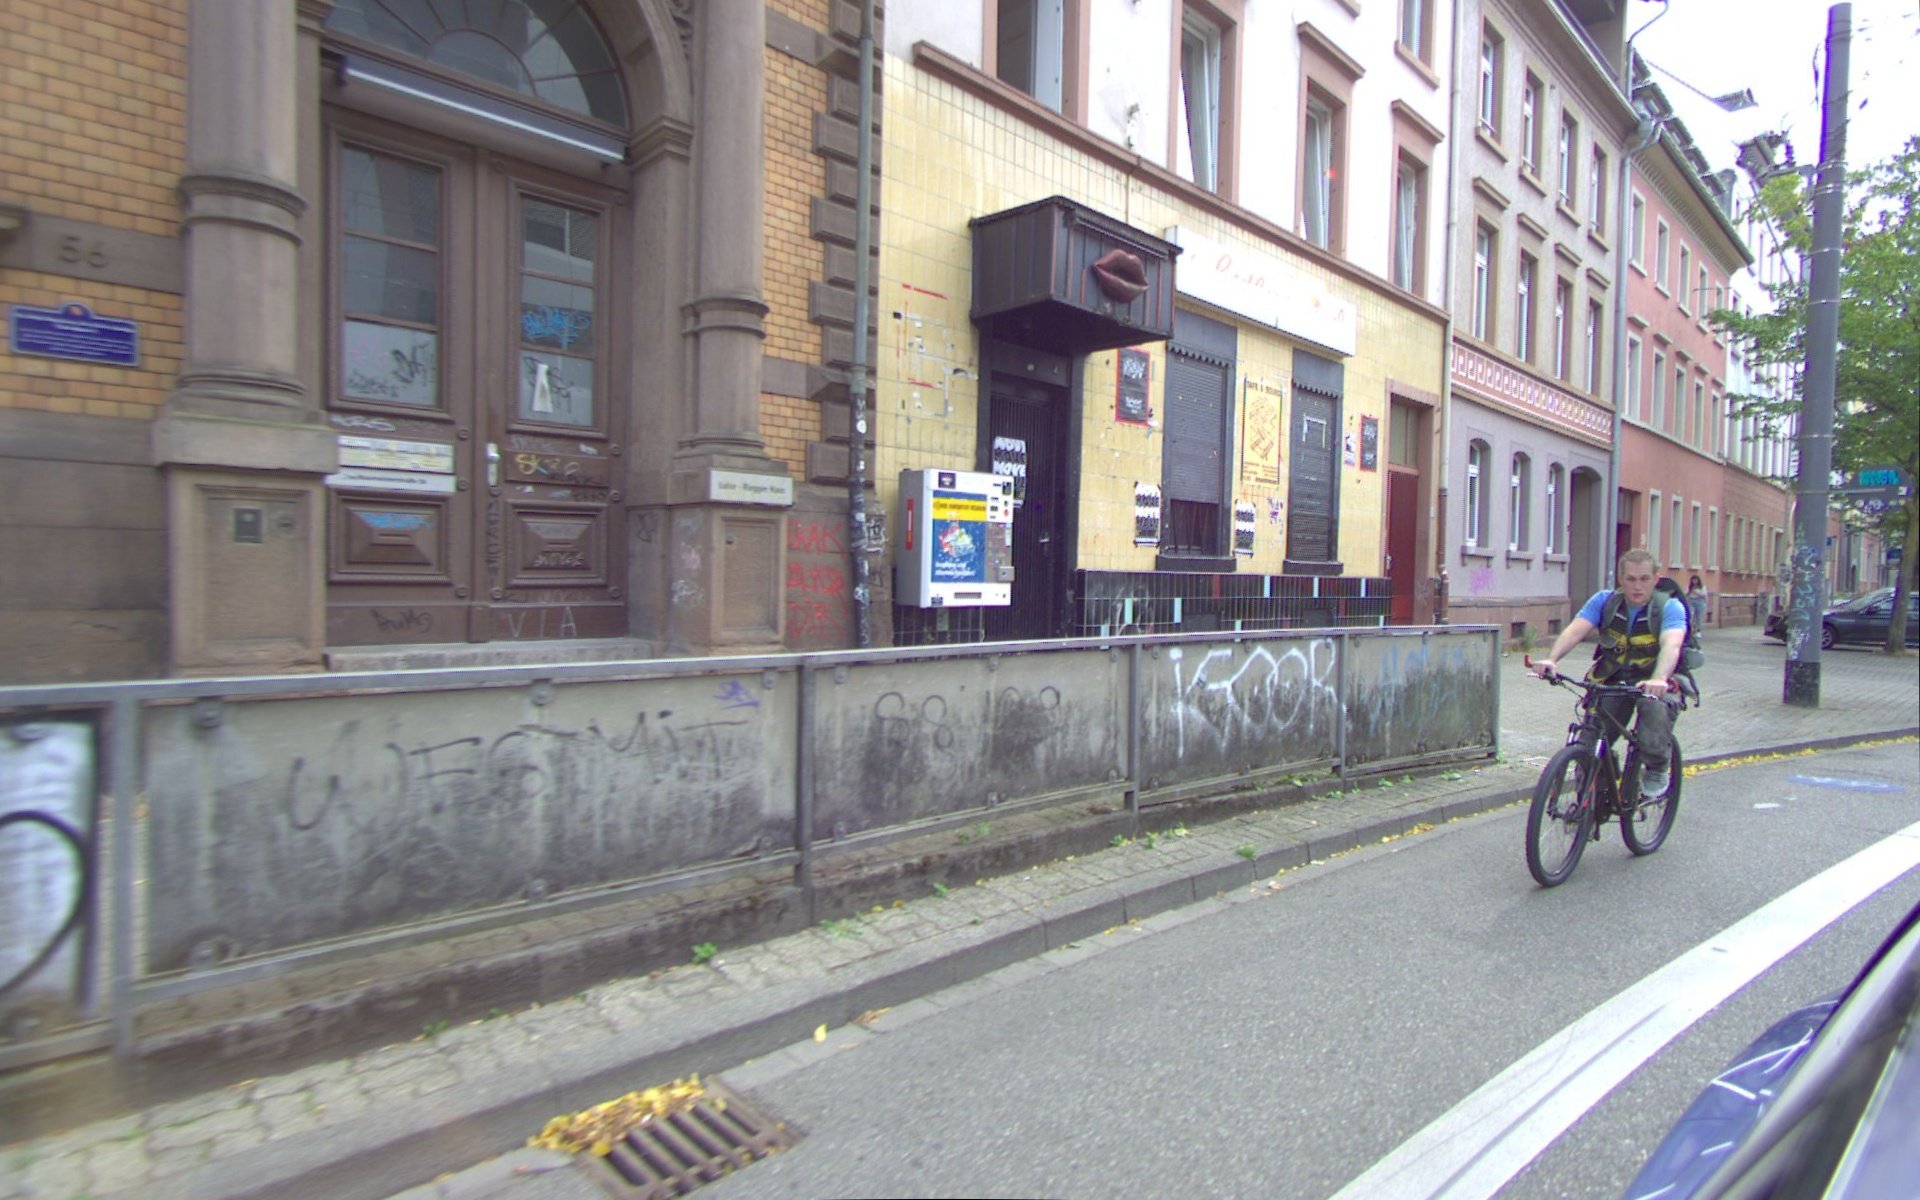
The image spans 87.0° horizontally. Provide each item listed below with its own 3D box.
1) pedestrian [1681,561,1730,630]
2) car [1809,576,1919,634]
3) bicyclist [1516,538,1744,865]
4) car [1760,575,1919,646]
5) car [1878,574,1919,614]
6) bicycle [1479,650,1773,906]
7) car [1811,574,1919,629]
[{"bbox_3d":[19.403,-0.131,26.346,0.910,1.708,0.732,0,5,-42],"label":"pedestrian"},{"bbox_3d":[27.292,0.175,28.859,4.301,1.498,1.775,4,3,25],"label":"car"},{"bbox_3d":[3.490,0.468,5.280,0.901,1.526,0.716,0,0,-36],"label":"bicyclist"},{"bbox_3d":[22.133,0.270,23.996,4.581,1.491,1.775,4,3,25],"label":"car"},{"bbox_3d":[43.363,-0.177,44.062,4.581,1.719,1.901,3,3,25],"label":"car"},{"bbox_3d":[3.520,0.830,5.298,1.766,1.031,0.715,0,1,-36],"label":"bicycle"},{"bbox_3d":[31.773,0.060,34.202,4.196,1.719,1.725,3,3,25],"label":"car"}]
